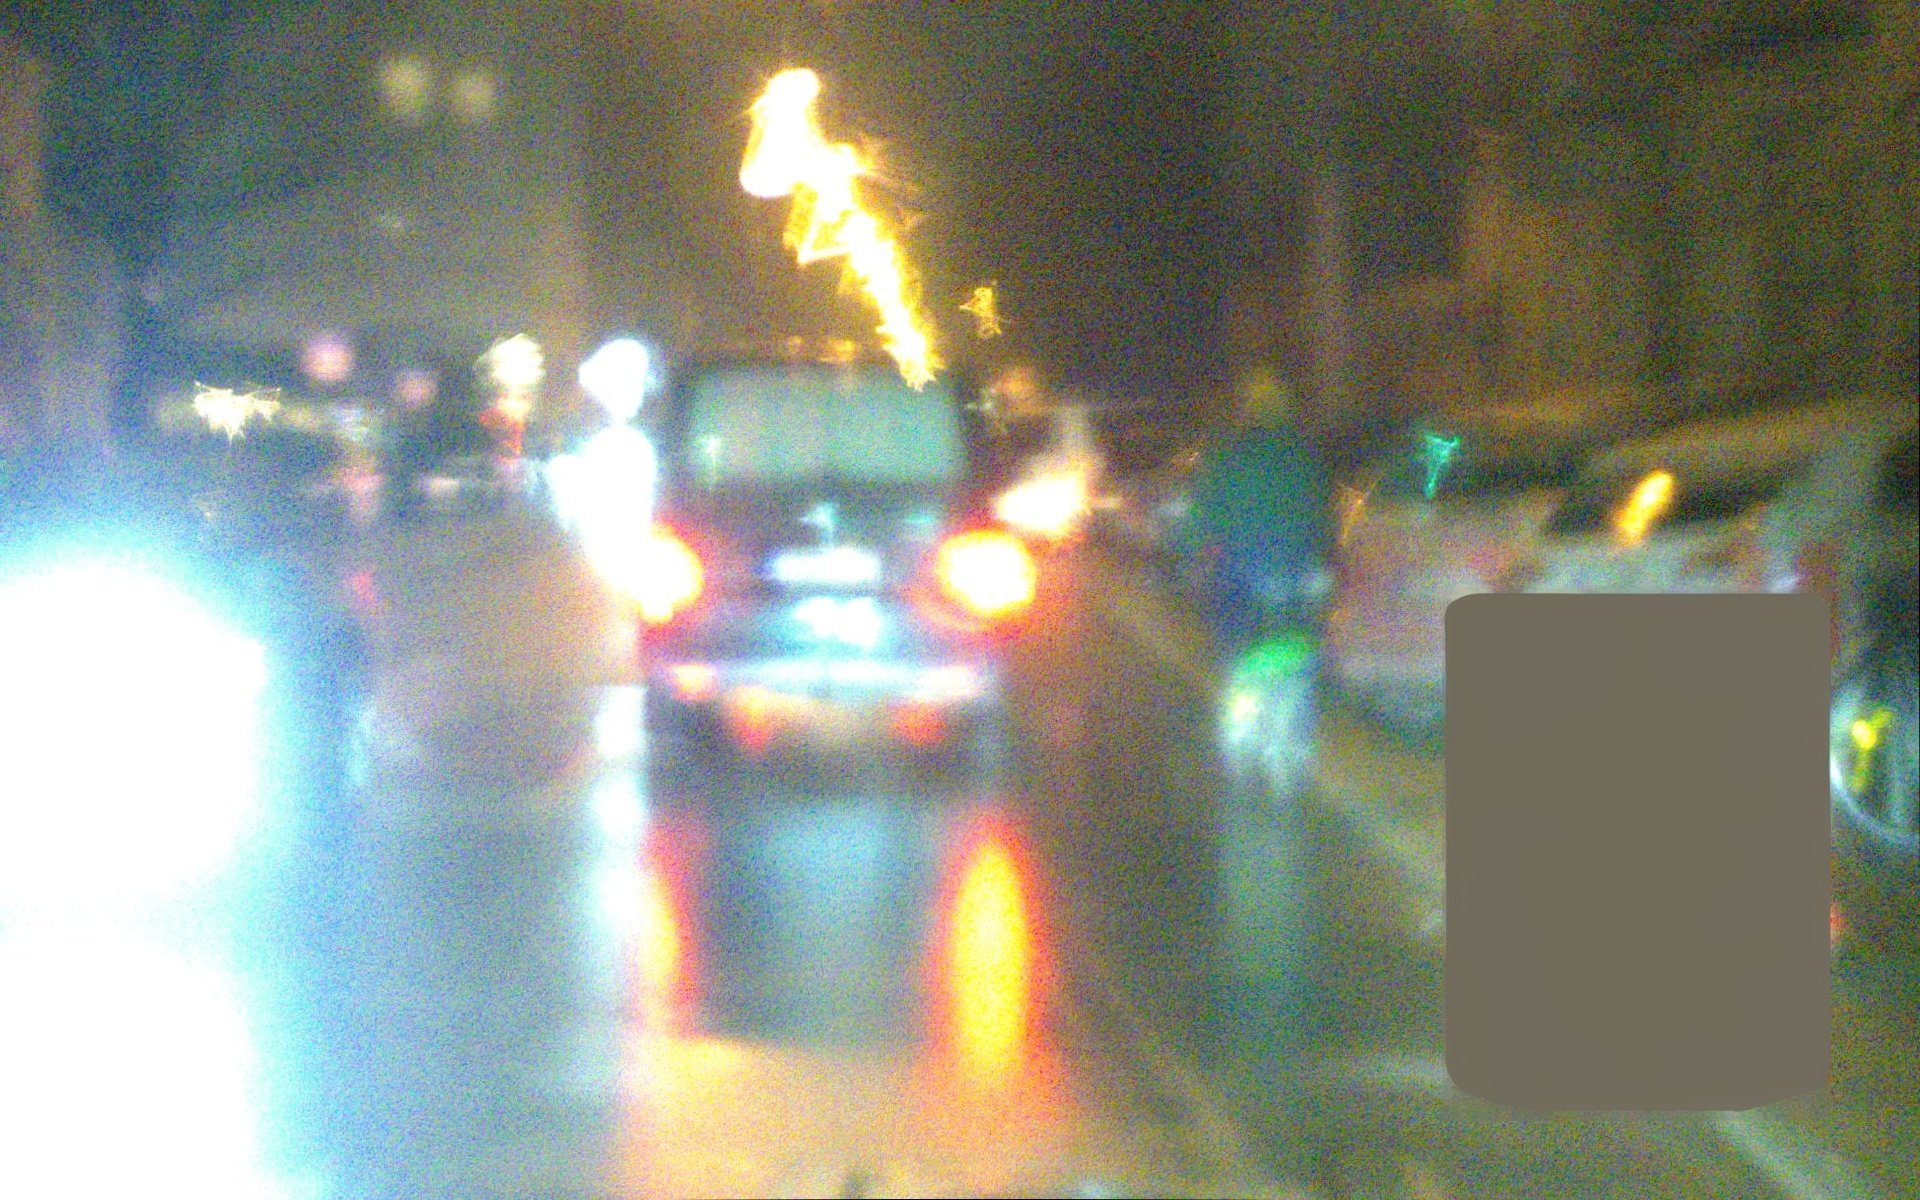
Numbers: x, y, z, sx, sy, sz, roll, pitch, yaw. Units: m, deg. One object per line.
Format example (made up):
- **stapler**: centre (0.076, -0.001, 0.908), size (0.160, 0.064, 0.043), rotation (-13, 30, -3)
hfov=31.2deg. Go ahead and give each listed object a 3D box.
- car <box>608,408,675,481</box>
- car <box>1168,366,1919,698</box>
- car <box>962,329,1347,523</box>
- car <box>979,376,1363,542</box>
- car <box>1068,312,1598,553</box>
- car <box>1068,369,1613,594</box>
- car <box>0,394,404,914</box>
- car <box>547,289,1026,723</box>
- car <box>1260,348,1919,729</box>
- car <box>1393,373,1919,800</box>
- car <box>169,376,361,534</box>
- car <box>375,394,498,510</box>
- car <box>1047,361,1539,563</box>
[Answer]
- **car**: centre (-8.900, -4.373, 96.269), size (1.724, 1.965, 4.222), rotation (-1, 3, -4)
- **car**: centre (3.404, -0.456, 19.671), size (4.173, 1.584, 1.731), rotation (-5, 4, -33)
- **car**: centre (2.697, -2.394, 46.835), size (4.996, 2.383, 2.139), rotation (-5, 5, -38)
- **car**: centre (2.423, -1.622, 38.931), size (4.174, 1.639, 1.770), rotation (-5, 5, -38)
- **car**: centre (2.955, -1.334, 26.654), size (4.174, 1.639, 1.661), rotation (-6, 5, -41)
- **car**: centre (3.205, -1.036, 28.992), size (4.171, 1.639, 1.771), rotation (-4, 4, -21)
- **car**: centre (-3.311, 0.046, 12.692), size (1.787, 1.548, 4.855), rotation (-1, 3, -1)
- **car**: centre (-0.815, -0.551, 18.097), size (2.168, 1.965, 4.303), rotation (-1, 3, 0)
- **car**: centre (3.676, -0.401, 16.899), size (4.174, 1.571, 1.882), rotation (-5, 5, -38)
- **car**: centre (3.956, -0.191, 14.190), size (4.174, 1.452, 1.857), rotation (-5, 5, -38)
- **car**: centre (-9.243, -1.945, 45.473), size (1.990, 1.965, 4.304), rotation (-2, 3, -18)
- **car**: centre (-9.236, -2.623, 60.464), size (1.724, 1.965, 3.729), rotation (-1, 3, -15)
- **car**: centre (3.114, -1.323, 32.147), size (4.171, 1.639, 1.771), rotation (-4, 4, -21)
